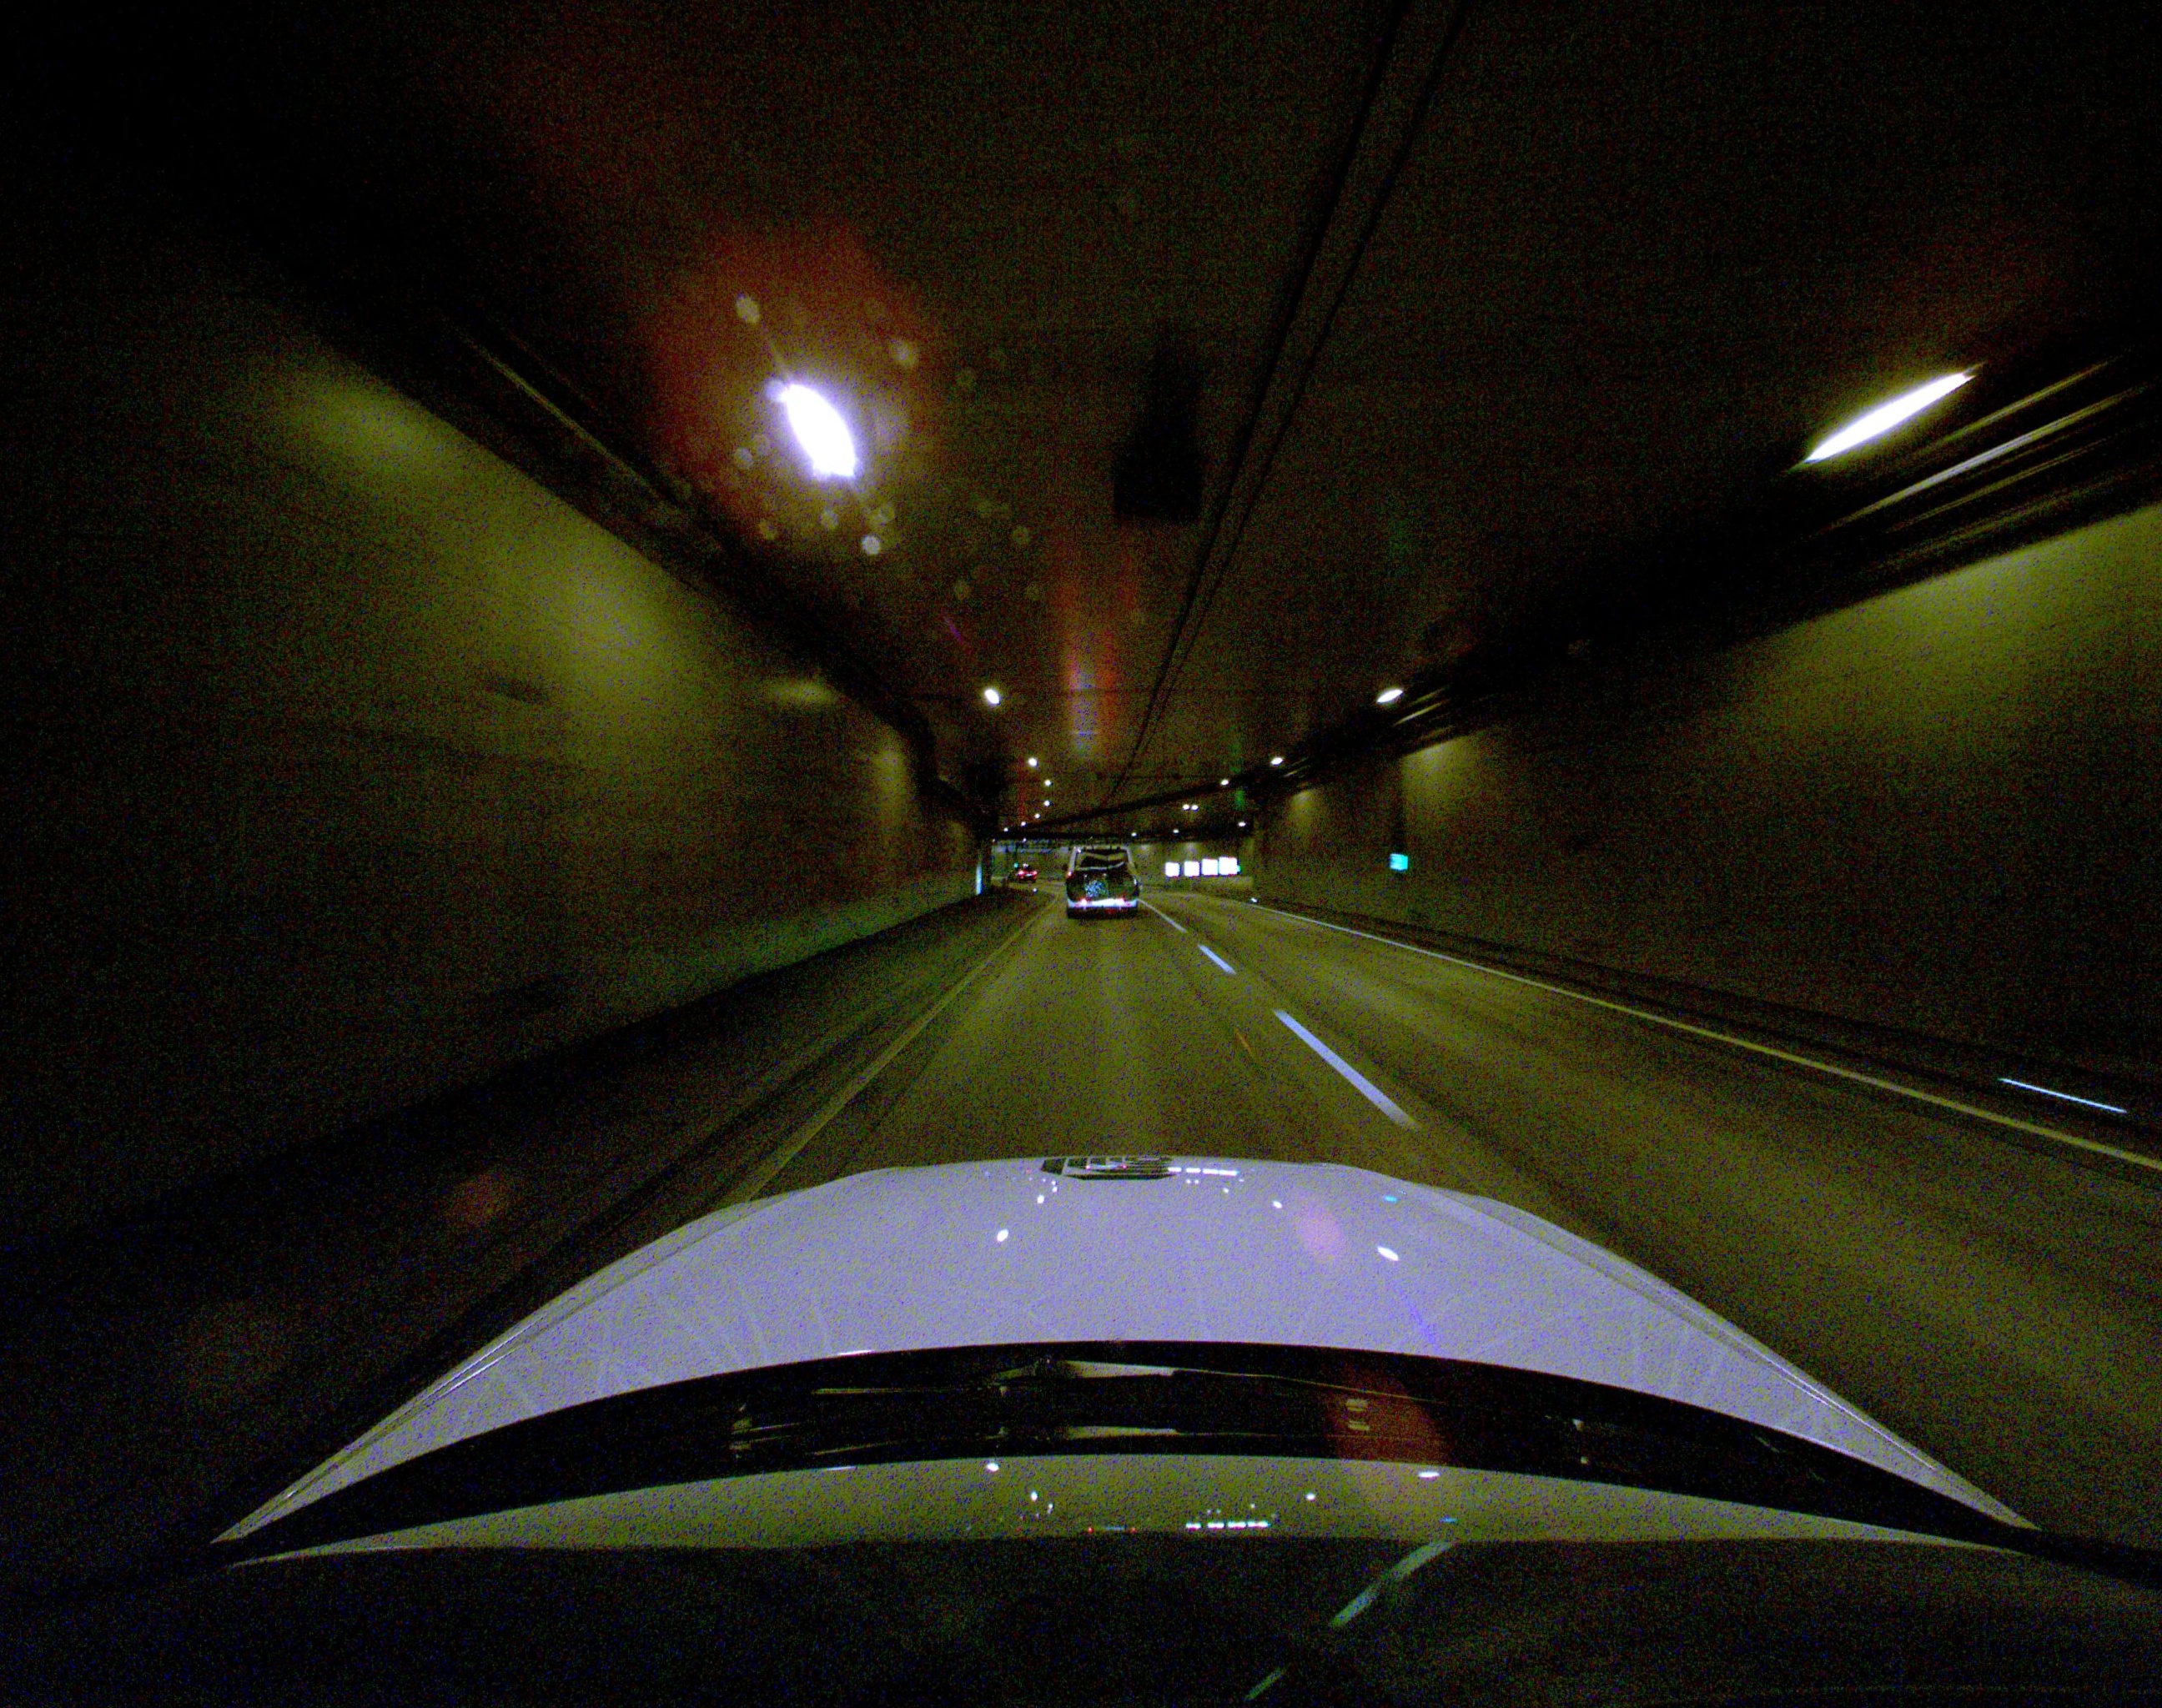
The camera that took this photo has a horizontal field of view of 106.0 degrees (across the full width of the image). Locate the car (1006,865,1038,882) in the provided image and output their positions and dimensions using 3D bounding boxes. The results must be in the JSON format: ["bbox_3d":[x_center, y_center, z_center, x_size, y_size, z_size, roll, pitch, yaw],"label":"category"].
[{"bbox_3d":[-6.035,1.968,82.767,1.833,1.630,3.809,2,-1,-28],"label":"car"}]

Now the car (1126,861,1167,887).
[{"bbox_3d":[4.330,1.303,54.311,1.606,1.630,3.337,-2,0,-16],"label":"car"}]

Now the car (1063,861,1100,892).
[{"bbox_3d":[-0.013,1.204,43.571,1.601,1.594,3.346,0,-2,-7],"label":"car"}]

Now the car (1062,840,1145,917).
[{"bbox_3d":[0.510,0.646,22.339,1.987,1.847,5.298,0,-1,-1],"label":"car"}]
